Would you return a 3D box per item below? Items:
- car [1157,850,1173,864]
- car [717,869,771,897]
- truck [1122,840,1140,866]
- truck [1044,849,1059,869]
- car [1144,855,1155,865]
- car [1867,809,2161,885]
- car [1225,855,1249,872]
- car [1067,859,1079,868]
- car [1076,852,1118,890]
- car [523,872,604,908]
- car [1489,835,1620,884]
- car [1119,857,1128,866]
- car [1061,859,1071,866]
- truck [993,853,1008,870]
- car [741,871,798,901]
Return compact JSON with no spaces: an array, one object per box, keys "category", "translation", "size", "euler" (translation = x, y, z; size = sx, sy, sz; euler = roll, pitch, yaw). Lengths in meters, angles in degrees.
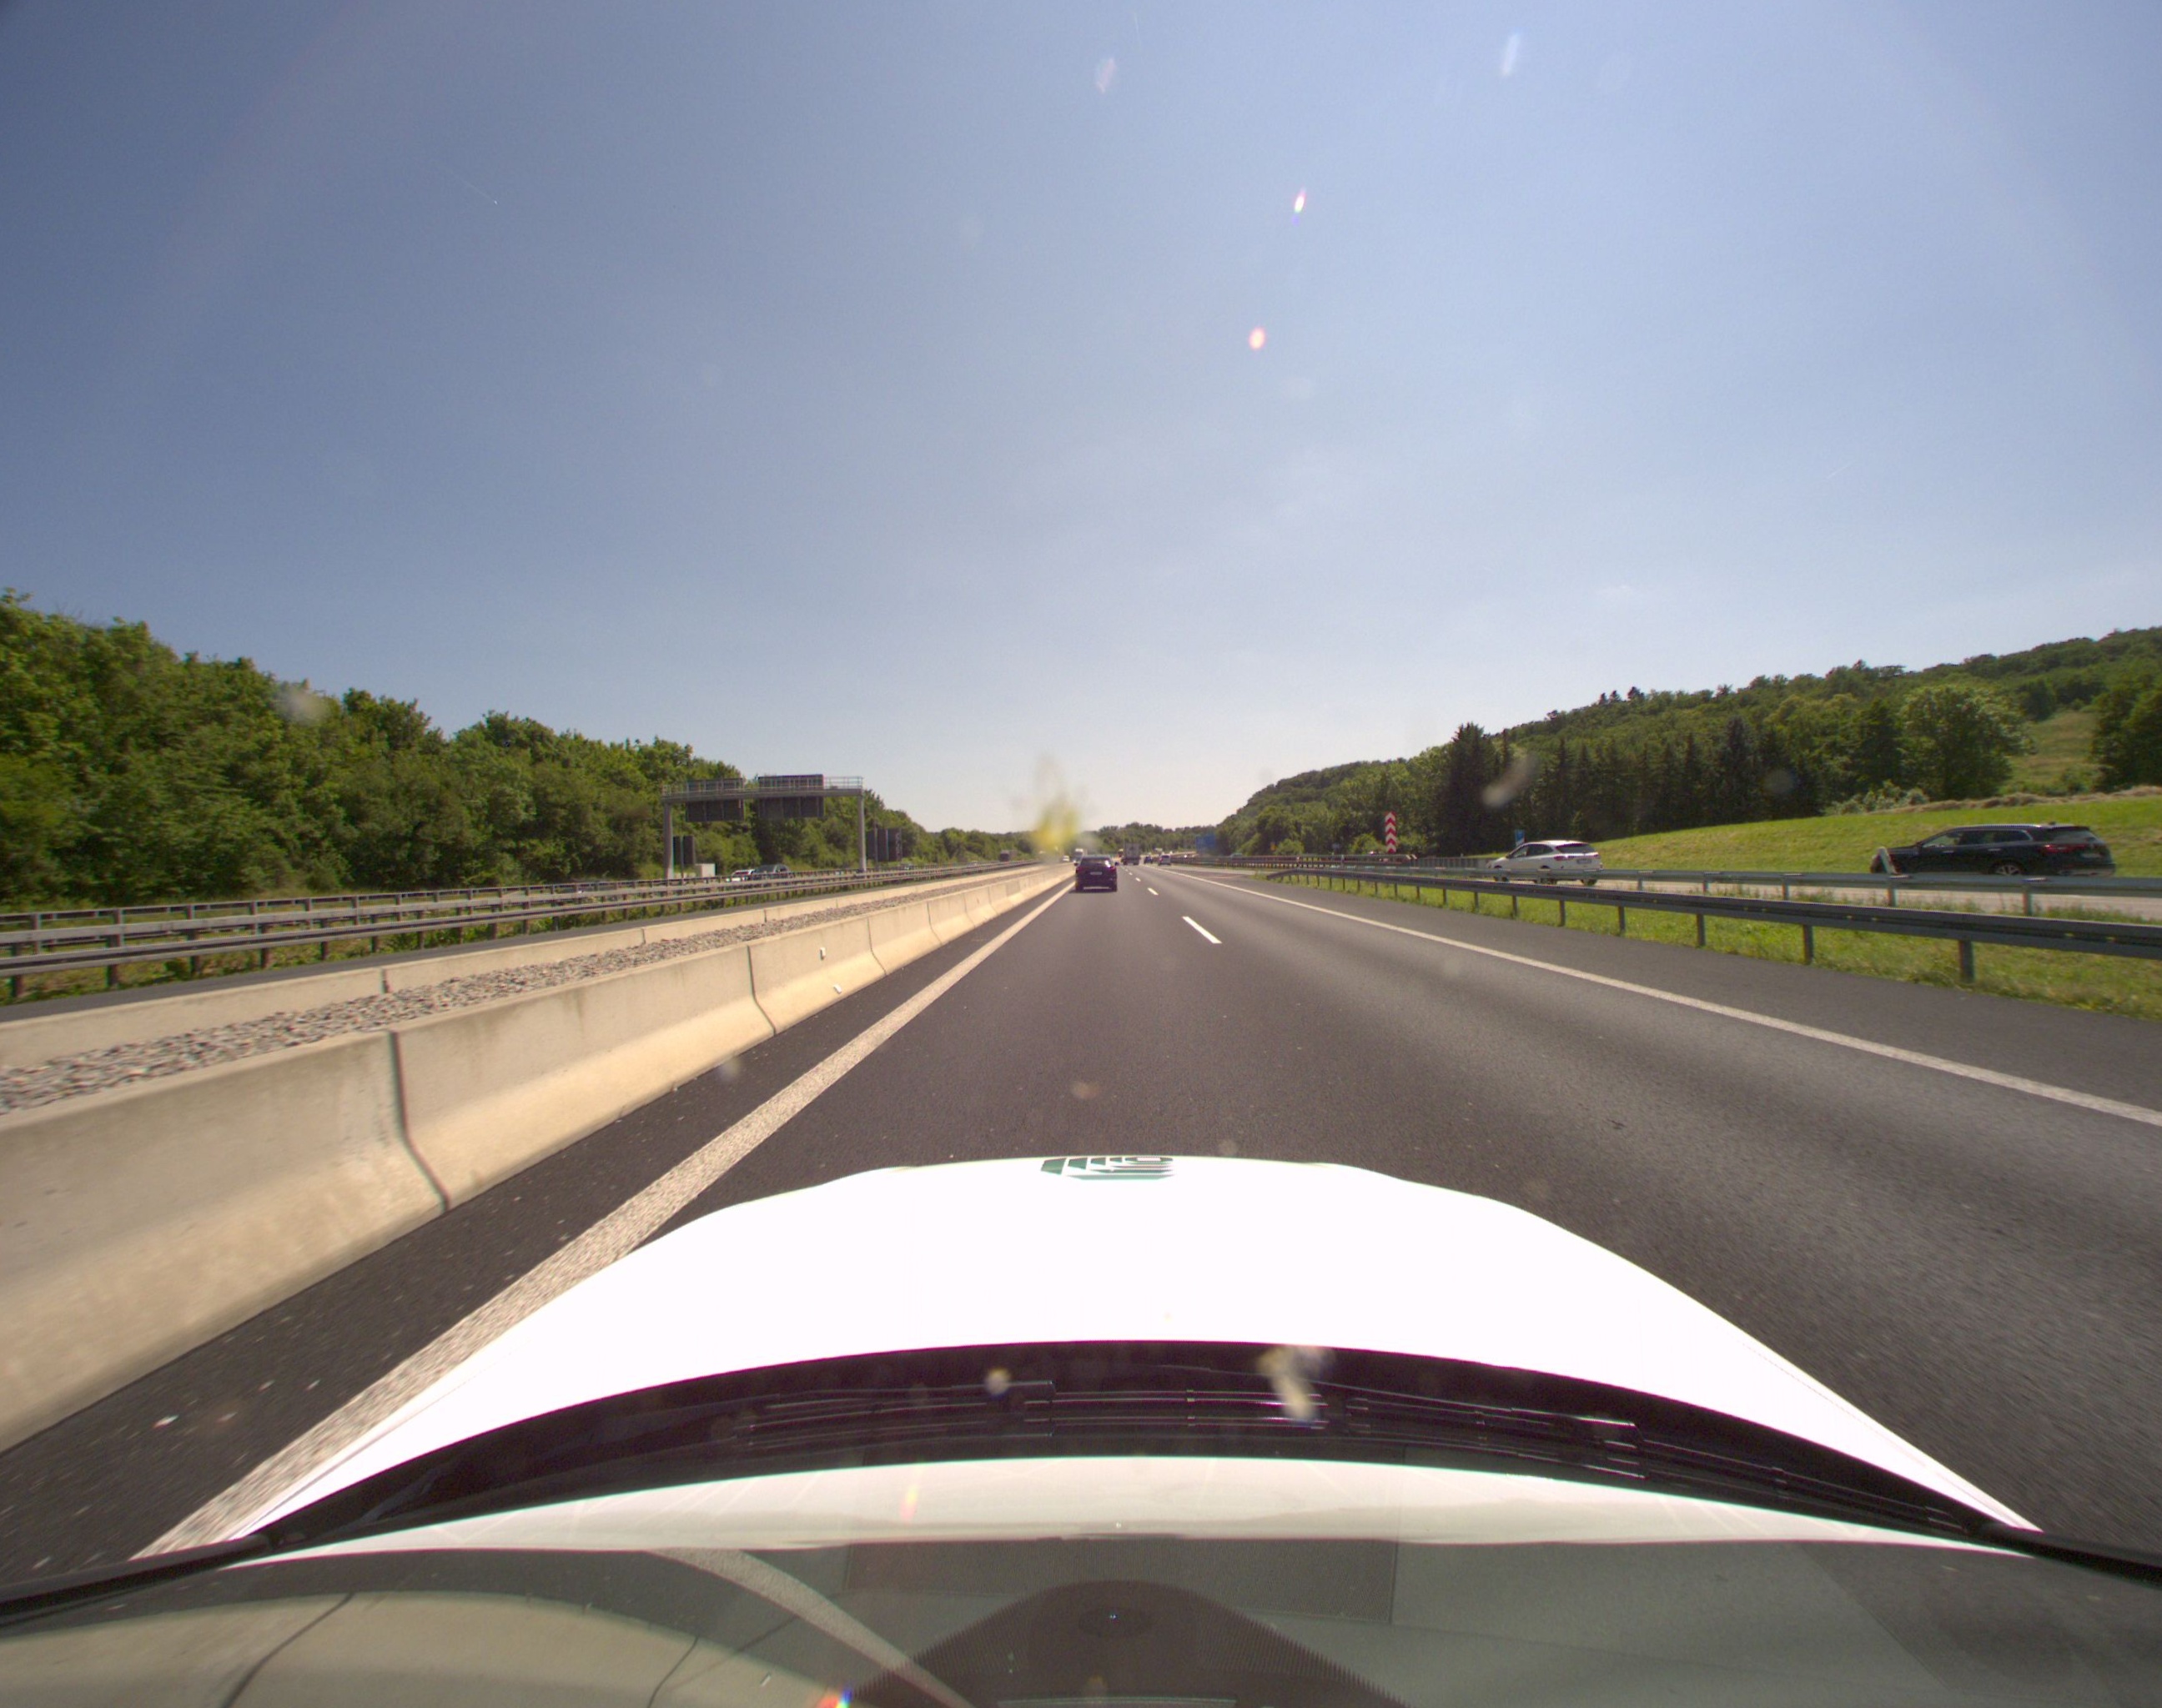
[{"category":"car","translation":[13.217,0.528,128.072],"size":[1.987,2.013,4.000],"euler":[-3,0,0]},{"category":"car","translation":[-26.040,2.188,63.102],"size":[1.938,2.014,4.769],"euler":[0,-1,4]},{"category":"truck","translation":[9.162,-0.100,147.049],"size":[3.018,4.418,12.033],"euler":[0,-1,5]},{"category":"truck","translation":[-6.363,1.140,178.096],"size":[2.693,4.288,4.559],"euler":[0,-1,5]},{"category":"car","translation":[14.235,1.193,169.695],"size":[1.986,2.014,4.002],"euler":[0,-1,2]},{"category":"car","translation":[23.735,-0.121,20.587],"size":[1.991,1.662,5.615],"euler":[0,-1,-6]},{"category":"car","translation":[20.383,1.275,106.823],"size":[1.990,2.013,3.993],"euler":[-3,-1,-5]},{"category":"car","translation":[-1.859,2.223,189.125],"size":[1.908,2.014,5.356],"euler":[-2,0,7]},{"category":"car","translation":[0.656,0.741,36.156],"size":[1.774,1.577,3.998],"euler":[0,-1,-1]},{"category":"car","translation":[-30.252,2.060,47.744],"size":[1.938,2.014,4.025],"euler":[0,-1,4]},{"category":"car","translation":[17.326,0.204,30.095],"size":[1.990,1.662,4.460],"euler":[0,-1,-5]},{"category":"car","translation":[10.853,1.876,209.293],"size":[2.130,2.216,5.090],"euler":[0,-1,2]},{"category":"car","translation":[-3.925,2.272,215.020],"size":[1.732,1.826,4.914],"euler":[0,-1,8]},{"category":"truck","translation":[-20.855,1.920,211.575],"size":[2.795,4.272,5.008],"euler":[0,-1,7]},{"category":"car","translation":[-22.088,2.216,57.955],"size":[1.938,2.014,4.769],"euler":[0,-1,4]}]
